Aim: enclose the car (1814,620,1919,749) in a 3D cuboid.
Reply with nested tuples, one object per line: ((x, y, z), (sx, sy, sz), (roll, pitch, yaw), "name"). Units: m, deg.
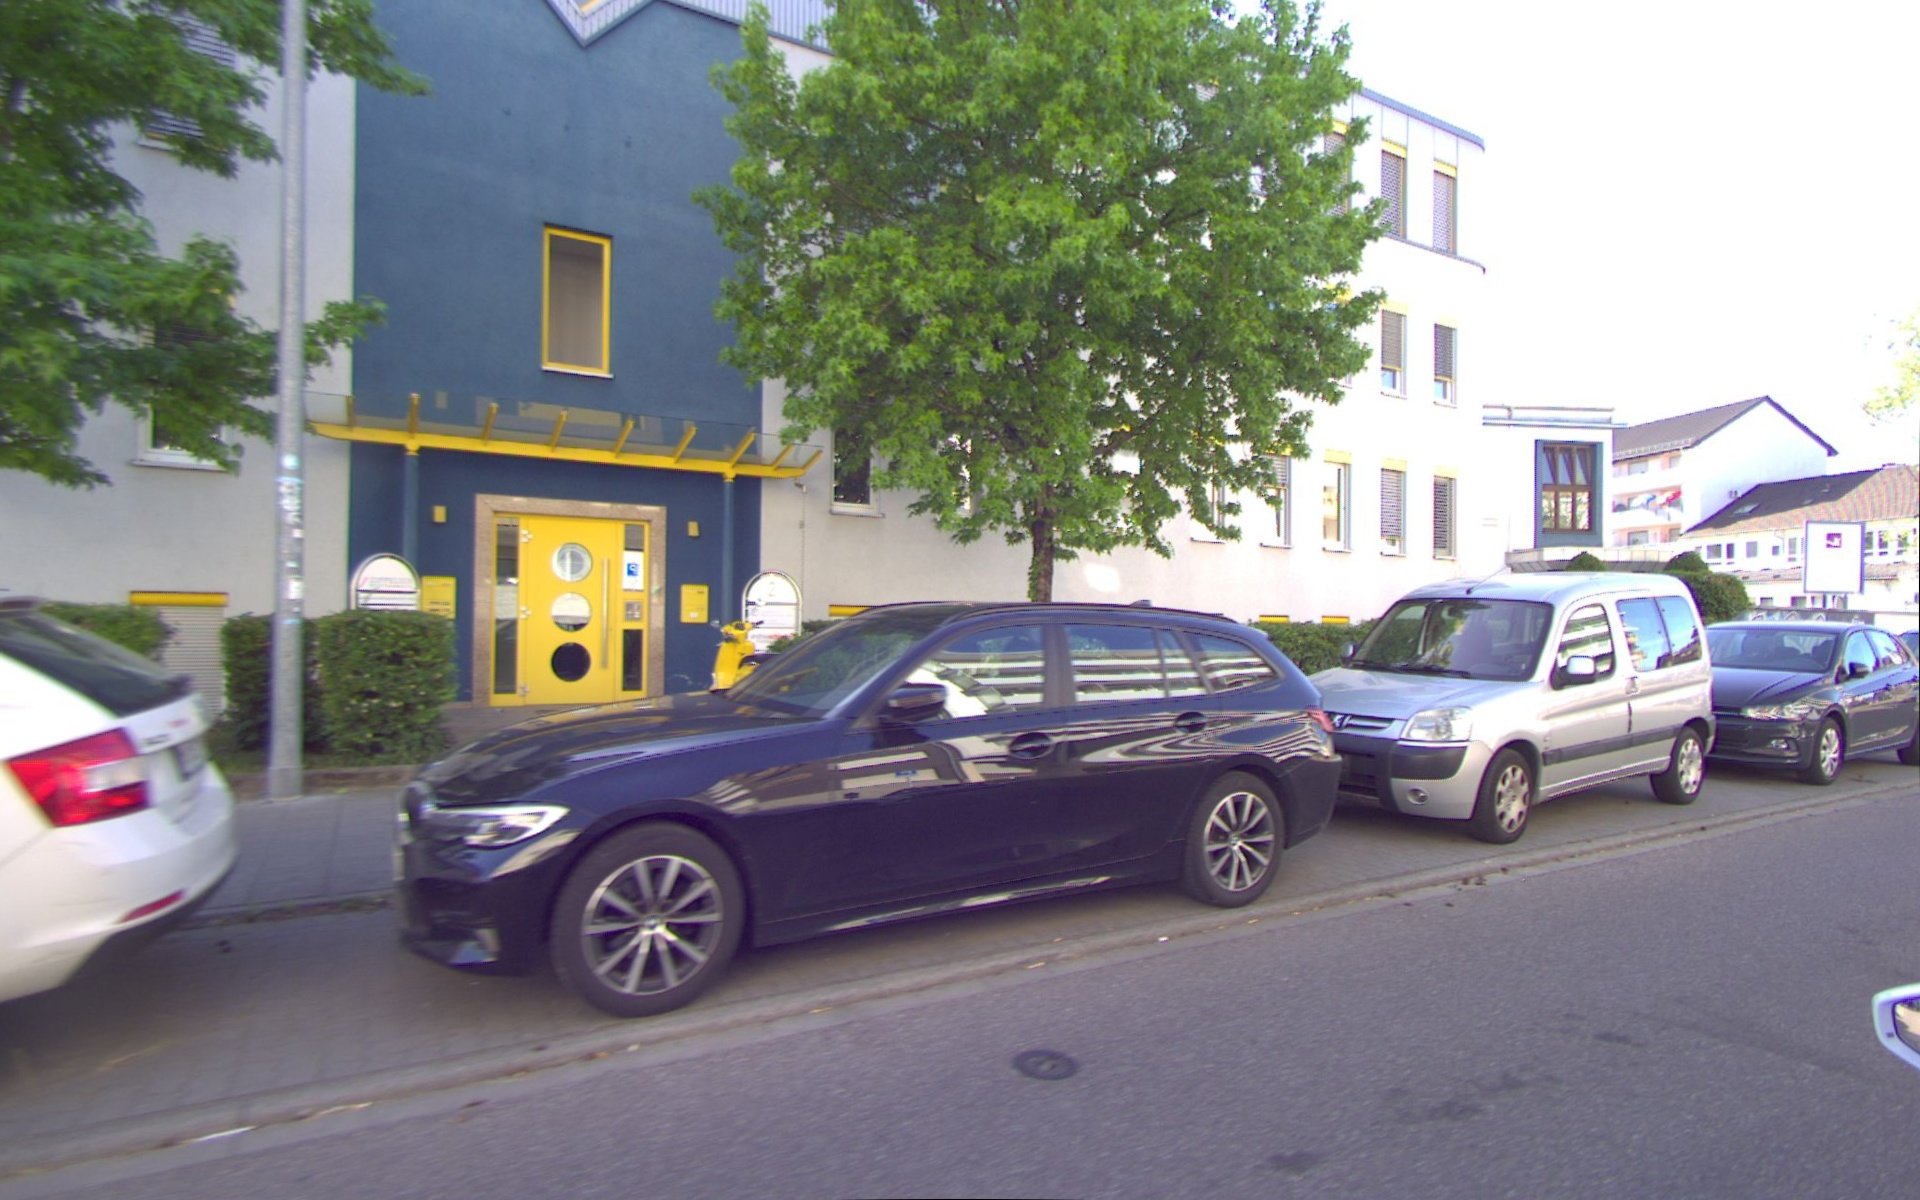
((12.959, 1.017, 12.847), (4.386, 1.484, 1.718), (1, -1, -30), "car")

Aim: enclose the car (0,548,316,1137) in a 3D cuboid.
((-4.416, 0.599, 2.572), (4.574, 1.550, 1.898), (2, -2, -32), "car")

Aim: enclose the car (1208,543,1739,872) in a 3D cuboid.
((3.997, 0.652, 7.575), (4.294, 1.863, 1.678), (1, -1, -33), "car")

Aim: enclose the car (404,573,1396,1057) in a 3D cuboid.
((-0.097, 0.708, 4.919), (4.556, 1.458, 1.725), (1, -2, -29), "car")

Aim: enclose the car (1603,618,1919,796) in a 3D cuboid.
((8.244, 0.937, 10.043), (3.957, 1.459, 1.589), (1, -1, -33), "car")
